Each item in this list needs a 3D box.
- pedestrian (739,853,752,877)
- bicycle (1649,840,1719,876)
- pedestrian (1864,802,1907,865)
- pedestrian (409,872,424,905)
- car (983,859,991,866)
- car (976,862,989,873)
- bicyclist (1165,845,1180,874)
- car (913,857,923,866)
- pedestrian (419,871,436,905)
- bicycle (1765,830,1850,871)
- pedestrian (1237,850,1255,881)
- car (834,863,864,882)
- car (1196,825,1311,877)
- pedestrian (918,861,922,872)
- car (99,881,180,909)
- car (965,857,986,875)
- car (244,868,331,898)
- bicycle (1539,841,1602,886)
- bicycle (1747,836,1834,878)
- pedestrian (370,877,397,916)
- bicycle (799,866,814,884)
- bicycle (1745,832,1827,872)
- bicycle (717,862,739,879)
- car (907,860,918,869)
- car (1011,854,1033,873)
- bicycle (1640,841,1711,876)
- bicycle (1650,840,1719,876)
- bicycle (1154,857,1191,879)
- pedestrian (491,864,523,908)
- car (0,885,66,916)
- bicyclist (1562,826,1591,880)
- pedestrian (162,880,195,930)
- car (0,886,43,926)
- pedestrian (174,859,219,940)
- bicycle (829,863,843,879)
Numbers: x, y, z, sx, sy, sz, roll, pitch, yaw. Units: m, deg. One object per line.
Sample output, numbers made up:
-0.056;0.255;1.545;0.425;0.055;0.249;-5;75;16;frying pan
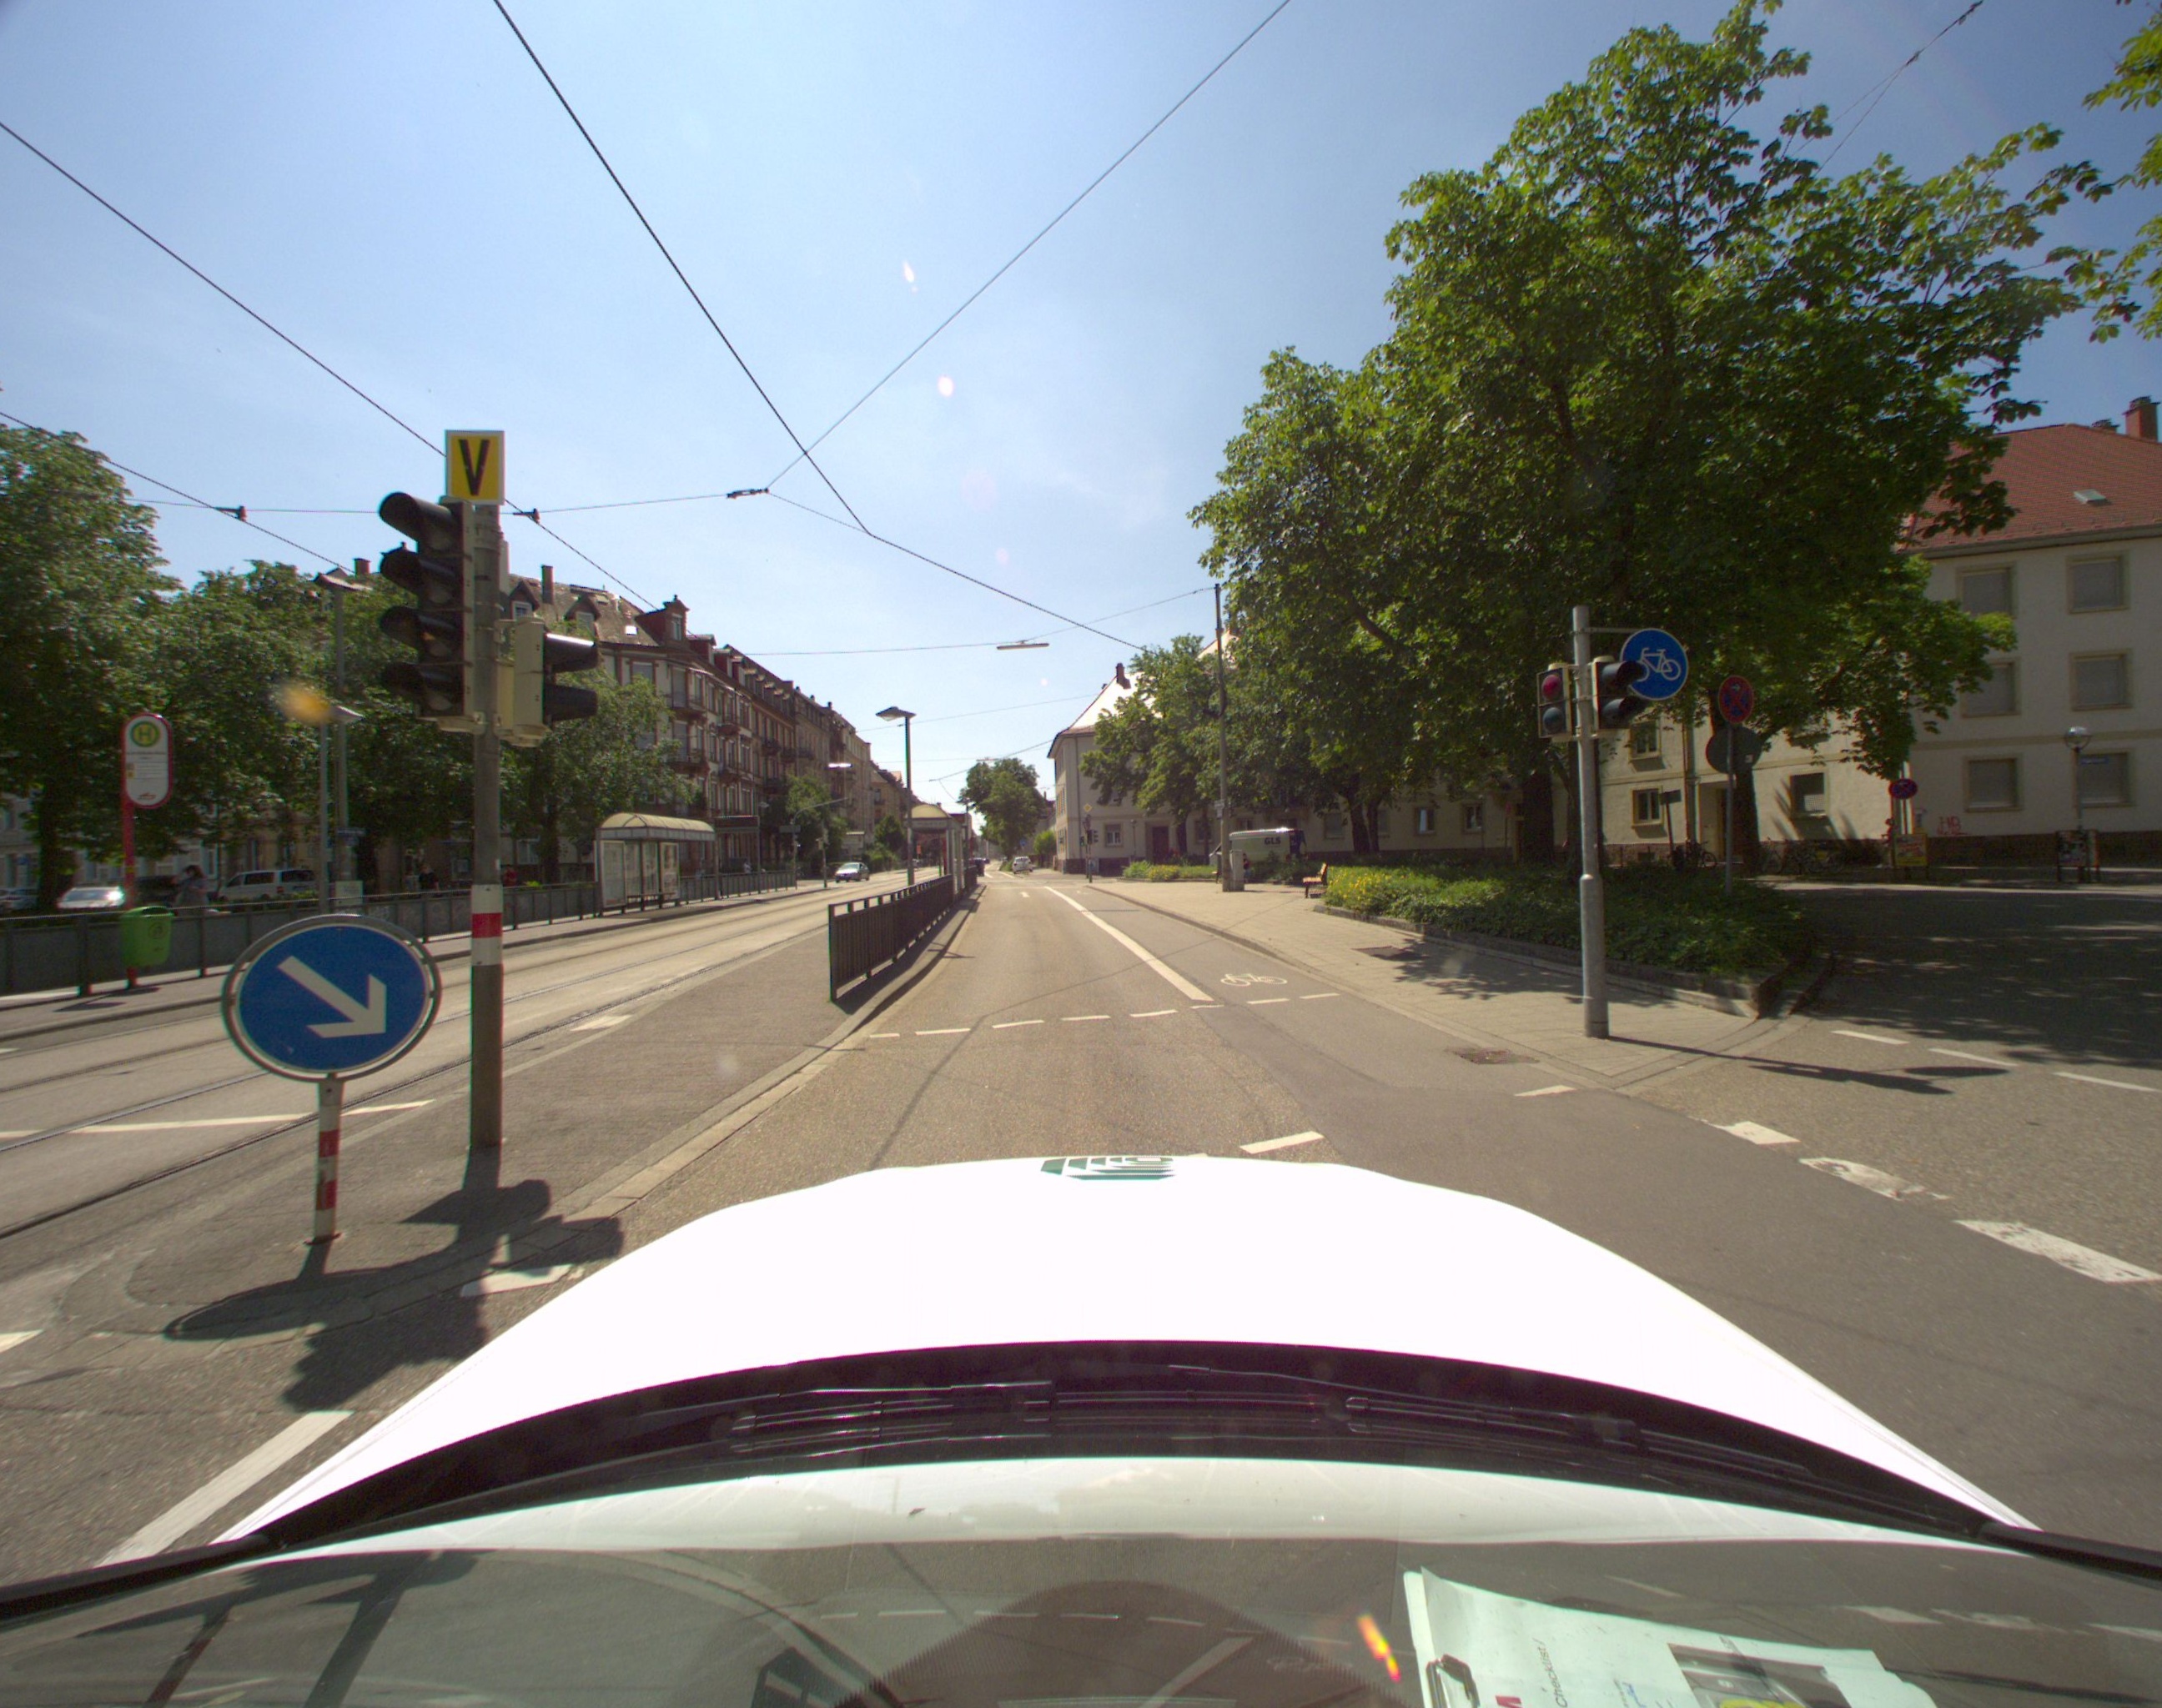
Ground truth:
-23.343;0.760;56.649;0.463;1.615;0.657;2;1;41;pedestrian
23.544;0.146;31.811;2.225;1.347;0.516;-1;-1;5;bicycle
26.277;-0.665;26.602;0.776;2.014;0.799;0;-1;-32;pedestrian
-35.665;1.844;43.704;0.509;1.768;0.524;0;-1;-28;pedestrian
-22.446;2.118;195.163;1.628;1.472;3.553;-5;-1;-8;car
-13.996;1.924;115.451;1.745;1.473;3.929;-2;-1;-7;car
5.346;0.337;47.750;0.687;1.646;0.584;-2;-1;27;bicyclist
-31.567;1.420;157.502;1.628;1.472;3.553;-5;-1;-8;car
-34.965;1.803;43.572;0.566;1.825;0.629;0;-1;-28;pedestrian
23.745;-0.111;26.631;2.141;1.300;0.548;-1;-1;5;bicycle
6.101;0.427;30.140;0.508;1.092;0.478;-3;1;-1;pedestrian
-17.150;1.335;60.272;1.539;1.339;3.709;-1;-1;-7;car
9.199;-0.133;43.786;5.777;2.590;2.012;-2;0;44;car
-26.717;2.060;135.154;0.677;1.727;0.676;-1;-1;-7;pedestrian
-50.916;2.217;44.038;3.699;1.442;1.549;-1;-1;18;car
-8.737;0.999;67.563;1.523;1.444;3.358;-3;-1;-6;car
-39.557;1.444;40.629;3.699;1.442;1.549;-1;-1;18;car
16.783;0.330;27.977;0.591;1.485;2.162;-1;-1;-8;bicycle
22.515;0.097;25.855;2.141;1.300;0.548;-1;-1;5;bicycle
-23.642;1.440;27.609;0.638;1.287;0.622;-2;-2;44;pedestrian
-22.529;1.711;66.702;0.618;1.395;2.284;0;-1;-33;bicycle
23.775;-0.073;27.477;2.141;1.300;0.548;-1;-1;5;bicycle
-25.149;1.191;58.060;0.360;1.169;1.528;0;0;27;bicycle
-30.890;2.018;149.165;1.684;1.472;3.926;-5;0;-8;car
-5.334;0.873;73.510;1.746;1.472;3.929;-5;0;-7;car
23.622;0.170;32.398;2.310;1.344;0.516;-1;-1;5;bicycle
23.174;0.156;31.288;2.141;1.300;0.548;-1;-1;5;bicycle
5.351;0.805;47.722;2.061;1.236;0.584;-2;-1;27;bicycle
-21.086;1.162;29.920;0.679;1.605;0.770;-1;-1;-10;pedestrian
-61.498;2.705;47.378;3.955;1.618;1.768;-2;0;18;car
16.824;-0.023;27.661;0.601;1.800;0.532;-1;-1;-9;bicyclist
-23.549;1.326;21.249;0.638;1.256;0.553;-2;-2;44;pedestrian
-42.166;1.991;30.865;3.715;1.442;1.542;-1;-1;2;car
-20.897;1.054;19.253;0.509;1.879;0.493;-1;-1;-2;pedestrian
-22.369;1.560;74.335;0.595;1.356;2.415;0;-1;-33;bicycle
